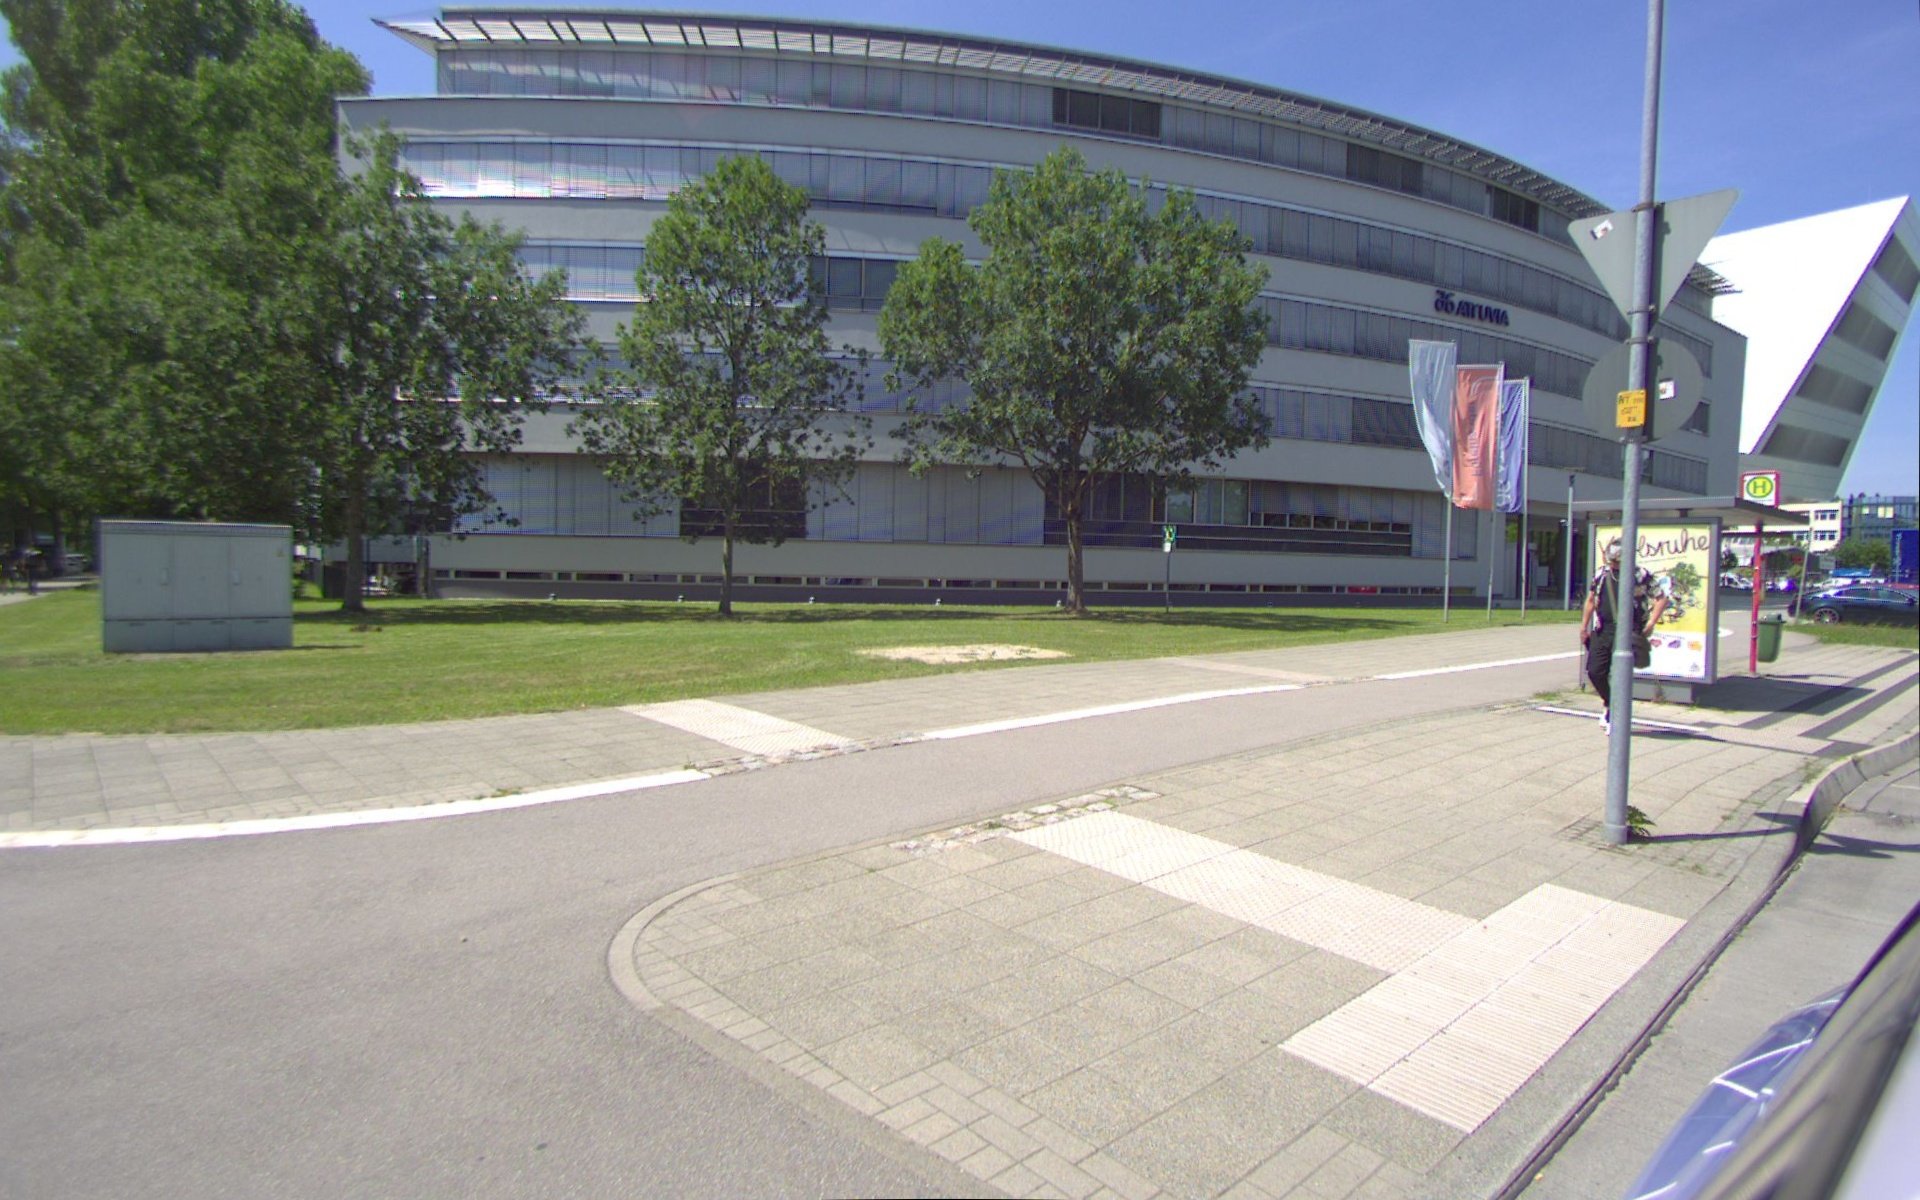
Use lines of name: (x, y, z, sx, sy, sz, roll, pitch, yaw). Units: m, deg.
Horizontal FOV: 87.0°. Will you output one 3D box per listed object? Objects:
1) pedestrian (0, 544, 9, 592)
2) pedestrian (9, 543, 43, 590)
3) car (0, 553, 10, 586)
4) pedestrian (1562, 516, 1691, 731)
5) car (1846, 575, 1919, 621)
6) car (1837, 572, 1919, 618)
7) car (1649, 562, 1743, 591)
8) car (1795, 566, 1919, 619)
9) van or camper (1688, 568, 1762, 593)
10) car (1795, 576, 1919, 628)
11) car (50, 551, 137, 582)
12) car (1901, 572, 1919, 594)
pedestrian: (-32.860, -1.094, 34.532, 0.477, 1.637, 0.588, 0, 1, -33)
pedestrian: (-32.337, -1.162, 35.046, 0.631, 1.628, 0.573, 0, 1, -11)
car: (-45.930, -1.390, 46.234, 3.622, 1.501, 1.866, -1, 2, -42)
pedestrian: (6.097, 0.179, 9.261, 0.812, 1.844, 0.709, -1, 4, -42)
car: (33.447, -0.047, 35.127, 1.626, 1.504, 3.817, -1, 4, -40)
car: (35.023, -0.159, 36.934, 1.755, 1.582, 4.330, -1, 4, -41)
car: (70.603, -2.286, 97.174, 2.211, 2.695, 6.975, -1, 1, -33)
car: (31.252, -0.270, 34.498, 1.807, 1.675, 3.996, -1, 3, -40)
van or camper: (77.465, -1.999, 102.559, 1.671, 2.420, 5.706, -1, 1, -36)
car: (29.704, 0.075, 32.231, 1.798, 1.449, 4.573, -1, 5, -44)
car: (-57.430, -2.198, 67.145, 3.919, 2.039, 2.003, 0, 1, -7)
car: (100.003, -1.731, 102.517, 2.124, 2.176, 6.499, -1, 1, -36)
